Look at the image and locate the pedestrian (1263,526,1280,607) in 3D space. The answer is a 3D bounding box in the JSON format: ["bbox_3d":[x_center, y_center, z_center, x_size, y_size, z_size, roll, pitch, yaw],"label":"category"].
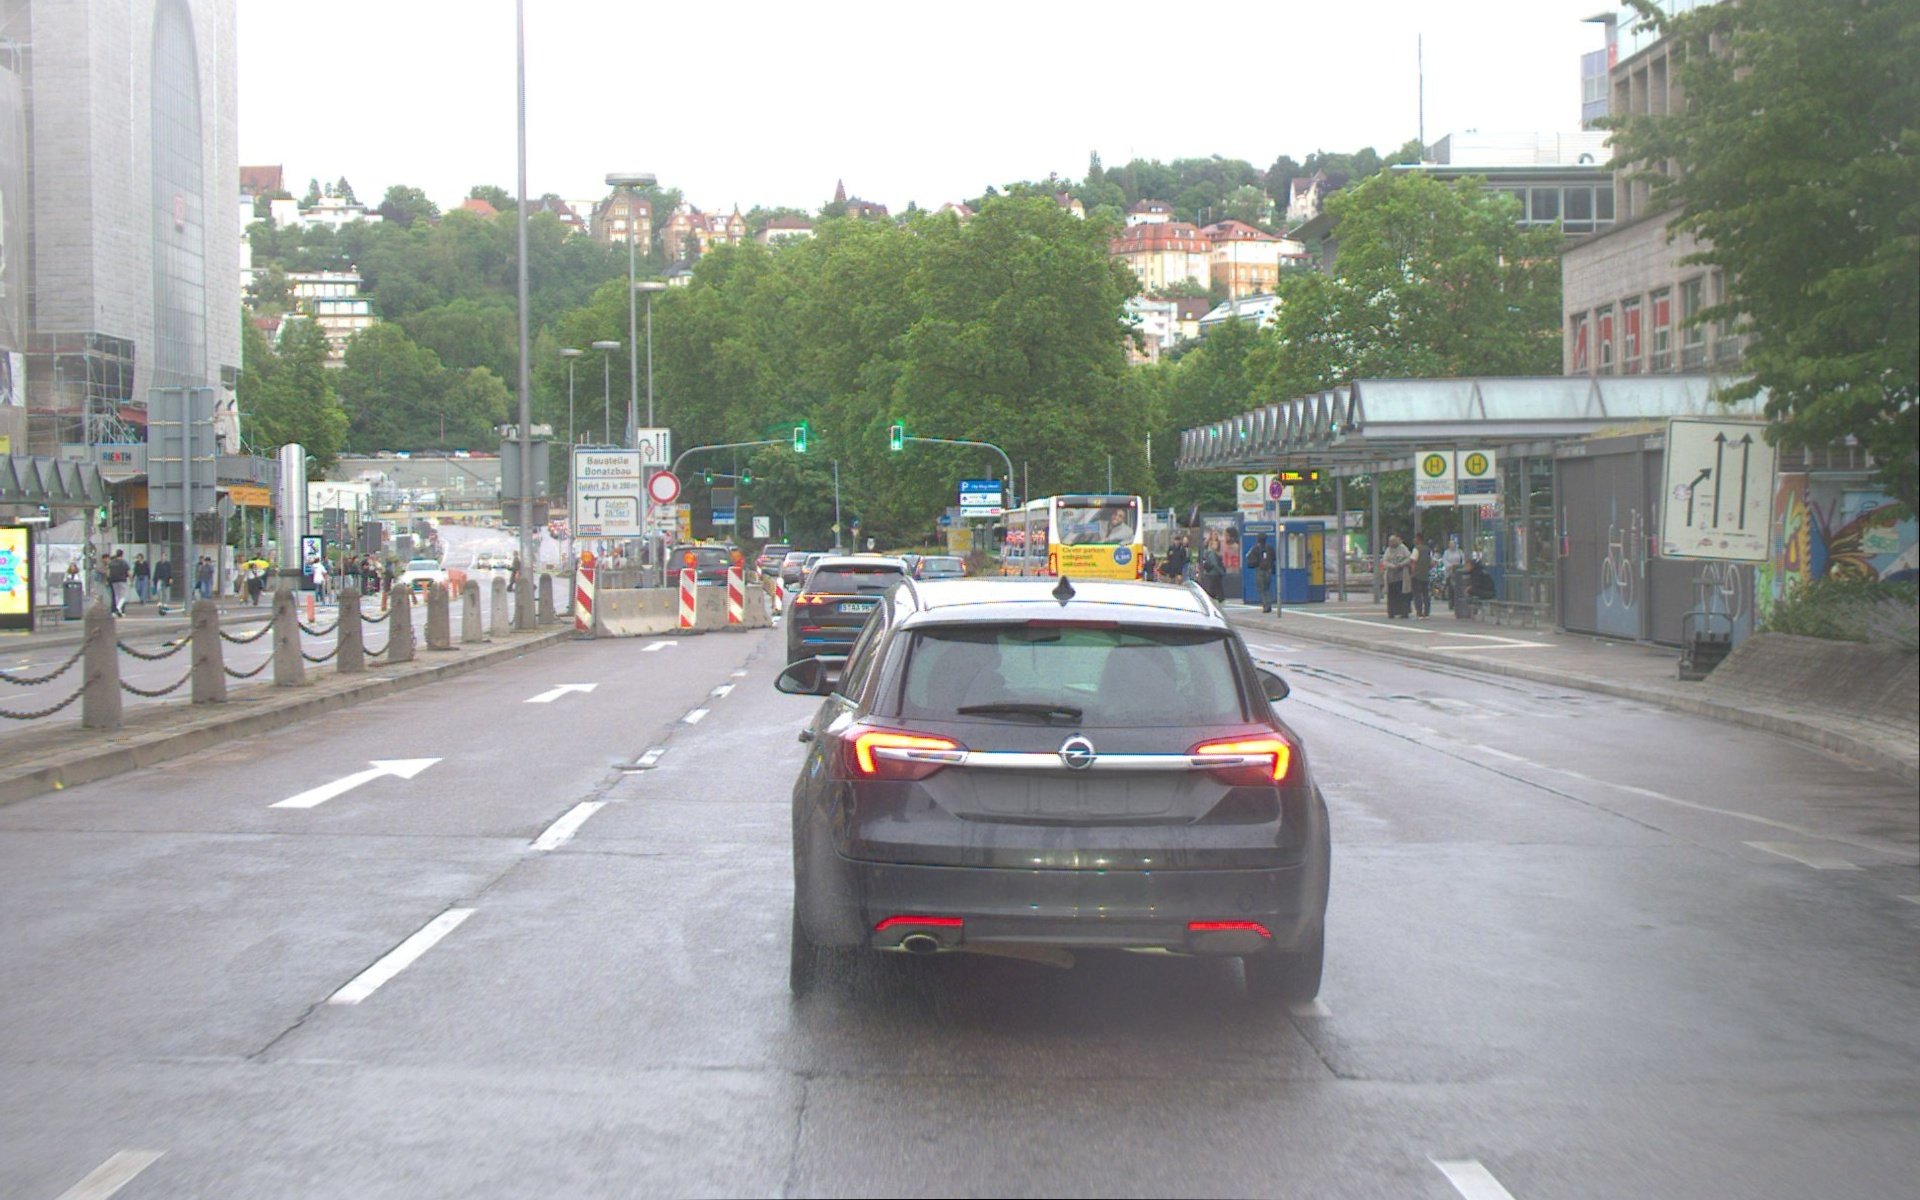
[{"bbox_3d":[7.143,-0.769,78.832,0.347,1.830,0.533,0,1,1],"label":"pedestrian"}]

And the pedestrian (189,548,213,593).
[{"bbox_3d":[-27.427,-1.067,124.295,0.676,1.608,0.838,0,1,0],"label":"pedestrian"}]

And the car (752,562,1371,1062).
[{"bbox_3d":[0.266,0.616,12.856,1.877,1.503,4.852,0,1,-1],"label":"car"}]

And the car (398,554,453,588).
[{"bbox_3d":[-23.774,-1.271,153.069,1.993,1.463,4.000,1,0,-3],"label":"car"}]

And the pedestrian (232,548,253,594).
[{"bbox_3d":[-26.171,-1.070,125.341,0.681,1.679,0.839,0,1,-16],"label":"pedestrian"}]

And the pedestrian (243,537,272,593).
[{"bbox_3d":[-23.264,-1.162,113.859,0.875,1.835,0.839,0,1,-16],"label":"pedestrian"}]

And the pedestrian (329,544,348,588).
[{"bbox_3d":[-26.070,-1.431,144.212,0.697,1.835,0.528,-1,1,-5],"label":"pedestrian"}]

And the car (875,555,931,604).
[{"bbox_3d":[-1.886,-0.686,113.148,1.674,1.576,3.240,1,0,-3],"label":"car"}]

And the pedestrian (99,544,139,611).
[{"bbox_3d":[-23.403,-0.630,95.675,0.703,1.835,0.876,0,1,26],"label":"pedestrian"}]

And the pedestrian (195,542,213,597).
[{"bbox_3d":[-25.306,-1.022,115.074,0.570,1.835,0.705,0,1,-16],"label":"pedestrian"}]

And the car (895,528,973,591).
[{"bbox_3d":[-0.740,-1.119,95.621,1.851,1.711,4.001,1,0,-5],"label":"car"}]

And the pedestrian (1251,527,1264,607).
[{"bbox_3d":[6.823,-0.751,78.874,0.243,1.830,0.512,0,1,1],"label":"pedestrian"}]

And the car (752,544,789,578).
[{"bbox_3d":[-9.358,-1.904,169.848,1.706,1.660,3.706,1,0,-1],"label":"car"}]

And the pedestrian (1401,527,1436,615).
[{"bbox_3d":[9.486,-0.603,71.172,0.627,1.830,0.641,0,1,0],"label":"pedestrian"}]

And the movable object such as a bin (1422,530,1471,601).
[{"bbox_3d":[11.342,-0.813,80.201,0.662,1.646,1.049,0,1,-25],"label":"movable object such as a bin"}]

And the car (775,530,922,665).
[{"bbox_3d":[-1.452,-0.058,45.193,1.830,1.680,4.134,0,1,-1],"label":"car"}]

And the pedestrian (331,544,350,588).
[{"bbox_3d":[-26.116,-1.442,144.927,0.697,1.835,0.878,1,0,-5],"label":"pedestrian"}]

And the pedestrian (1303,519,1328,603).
[{"bbox_3d":[9.409,-1.042,91.079,0.590,2.207,0.587,0,1,0],"label":"pedestrian"}]

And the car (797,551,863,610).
[{"bbox_3d":[-4.556,-0.684,119.768,1.983,2.007,4.370,1,0,-6],"label":"car"}]

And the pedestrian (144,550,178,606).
[{"bbox_3d":[-25.958,-0.717,111.679,0.839,1.835,1.058,0,1,1],"label":"pedestrian"}]

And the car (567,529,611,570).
[{"bbox_3d":[-18.717,-2.548,173.339,1.993,2.007,5.371,1,0,-8],"label":"car"}]

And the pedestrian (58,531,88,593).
[{"bbox_3d":[-26.202,-1.118,101.594,0.721,1.835,0.612,0,1,1],"label":"pedestrian"}]

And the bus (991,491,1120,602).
[{"bbox_3d":[2.805,-1.581,104.270,3.113,3.194,9.243,1,0,-3],"label":"bus"}]

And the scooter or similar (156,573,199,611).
[{"bbox_3d":[-22.155,-0.236,97.324,0.459,1.062,1.238,1,1,32],"label":"scooter or similar"}]

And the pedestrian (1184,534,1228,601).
[{"bbox_3d":[6.278,-0.837,87.833,0.759,1.684,0.999,0,1,-23],"label":"pedestrian"}]

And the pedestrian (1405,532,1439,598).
[{"bbox_3d":[11.930,-0.904,88.769,0.748,1.689,0.902,0,1,1],"label":"pedestrian"}]

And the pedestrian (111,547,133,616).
[{"bbox_3d":[-22.429,-0.488,92.052,0.507,1.835,0.704,0,1,-8],"label":"pedestrian"}]

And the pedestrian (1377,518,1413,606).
[{"bbox_3d":[9.138,-0.804,72.258,0.675,1.830,0.574,0,1,0],"label":"pedestrian"}]

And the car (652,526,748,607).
[{"bbox_3d":[-6.152,-0.806,81.665,1.993,1.856,4.833,-1,1,-1],"label":"car"}]

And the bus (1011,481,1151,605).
[{"bbox_3d":[3.253,-1.537,95.110,3.141,3.236,9.136,1,0,-2],"label":"bus"}]
